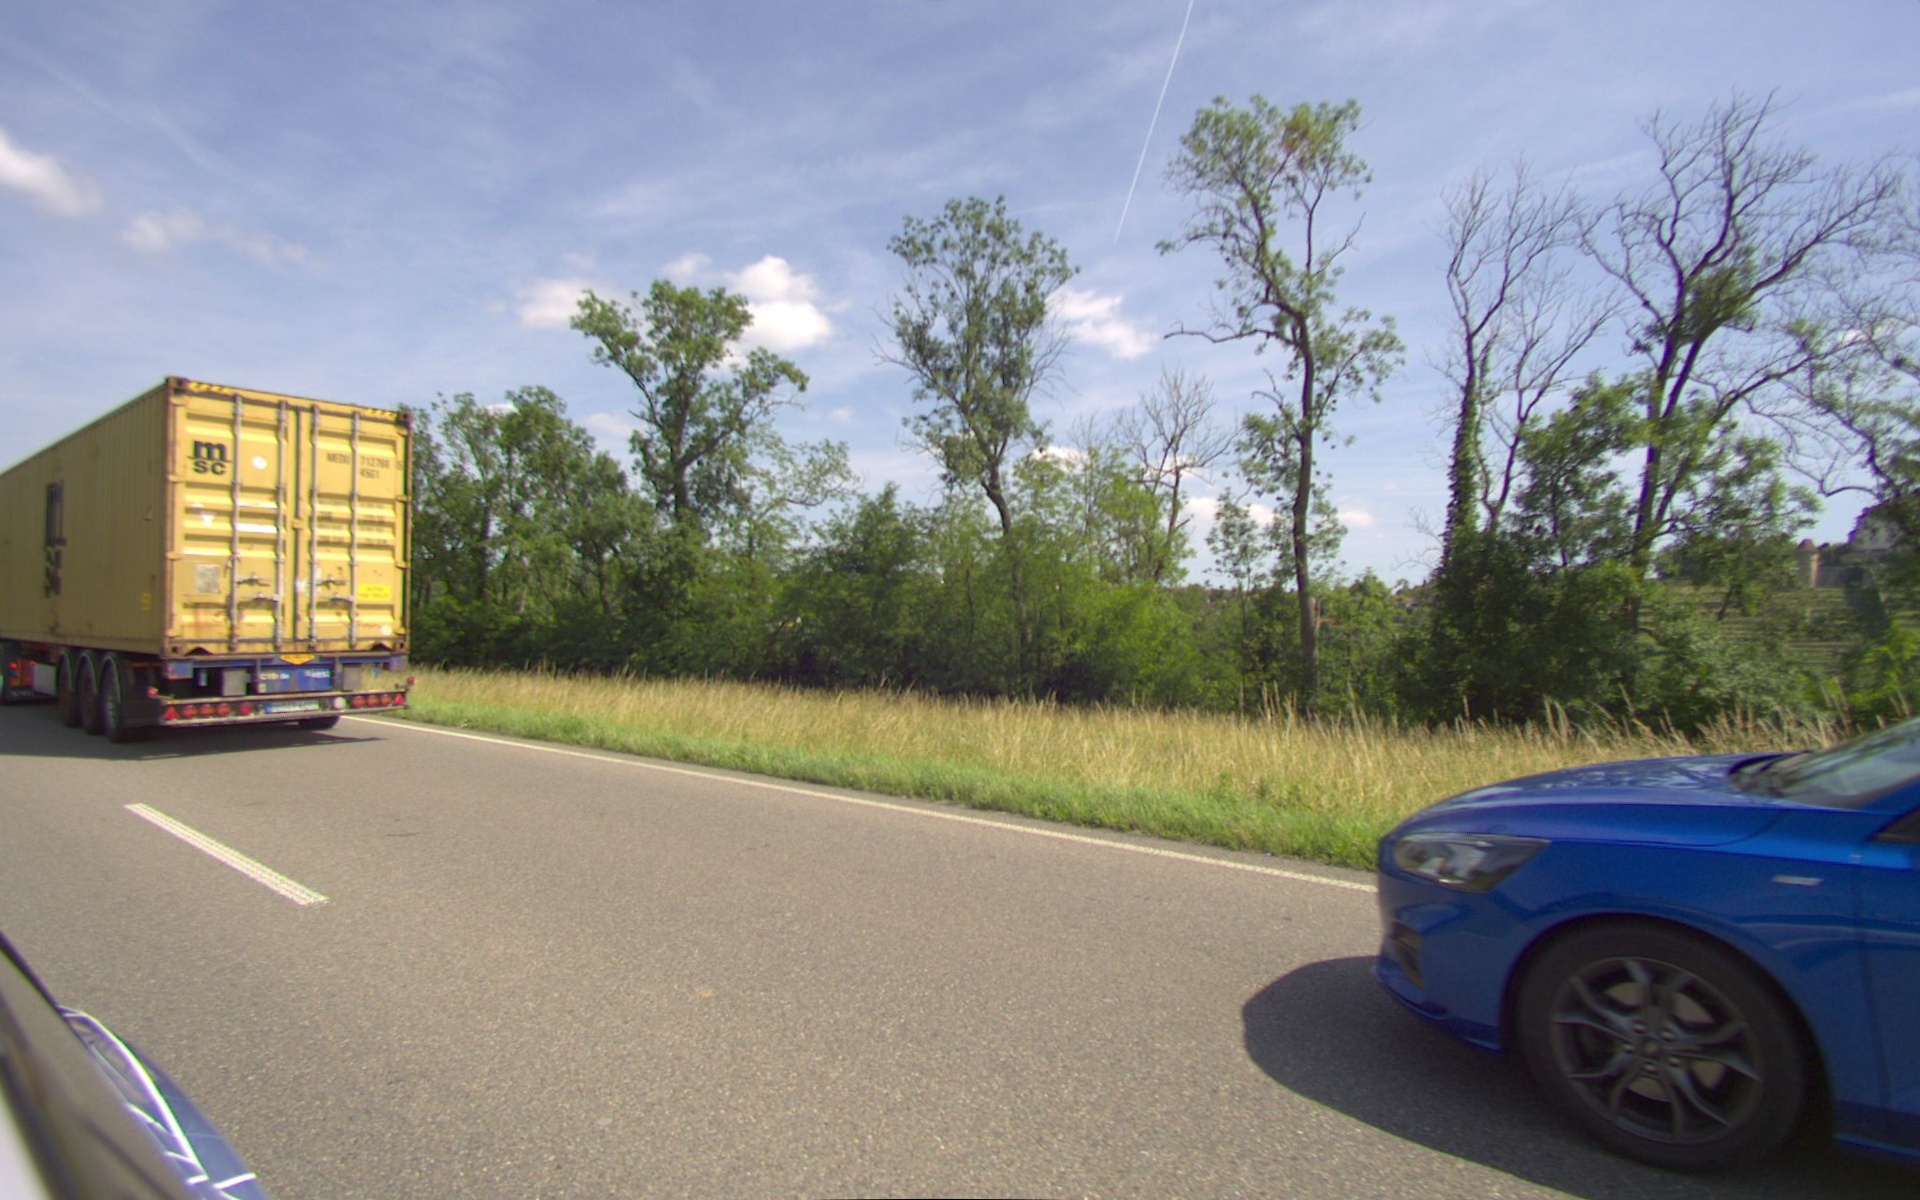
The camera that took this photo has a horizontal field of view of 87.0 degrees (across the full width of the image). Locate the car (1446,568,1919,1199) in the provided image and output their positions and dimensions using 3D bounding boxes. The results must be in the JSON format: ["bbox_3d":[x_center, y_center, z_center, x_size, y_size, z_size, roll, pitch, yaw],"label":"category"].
[{"bbox_3d":[3.634,0.676,2.154,4.357,1.497,1.843,-1,-2,41],"label":"car"}]

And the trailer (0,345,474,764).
[{"bbox_3d":[-11.701,-0.331,15.140,12.906,4.074,2.967,-1,-1,40],"label":"trailer"}]

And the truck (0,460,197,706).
[{"bbox_3d":[-17.451,-0.213,19.730,5.979,4.098,2.779,-1,-2,39],"label":"truck"}]
